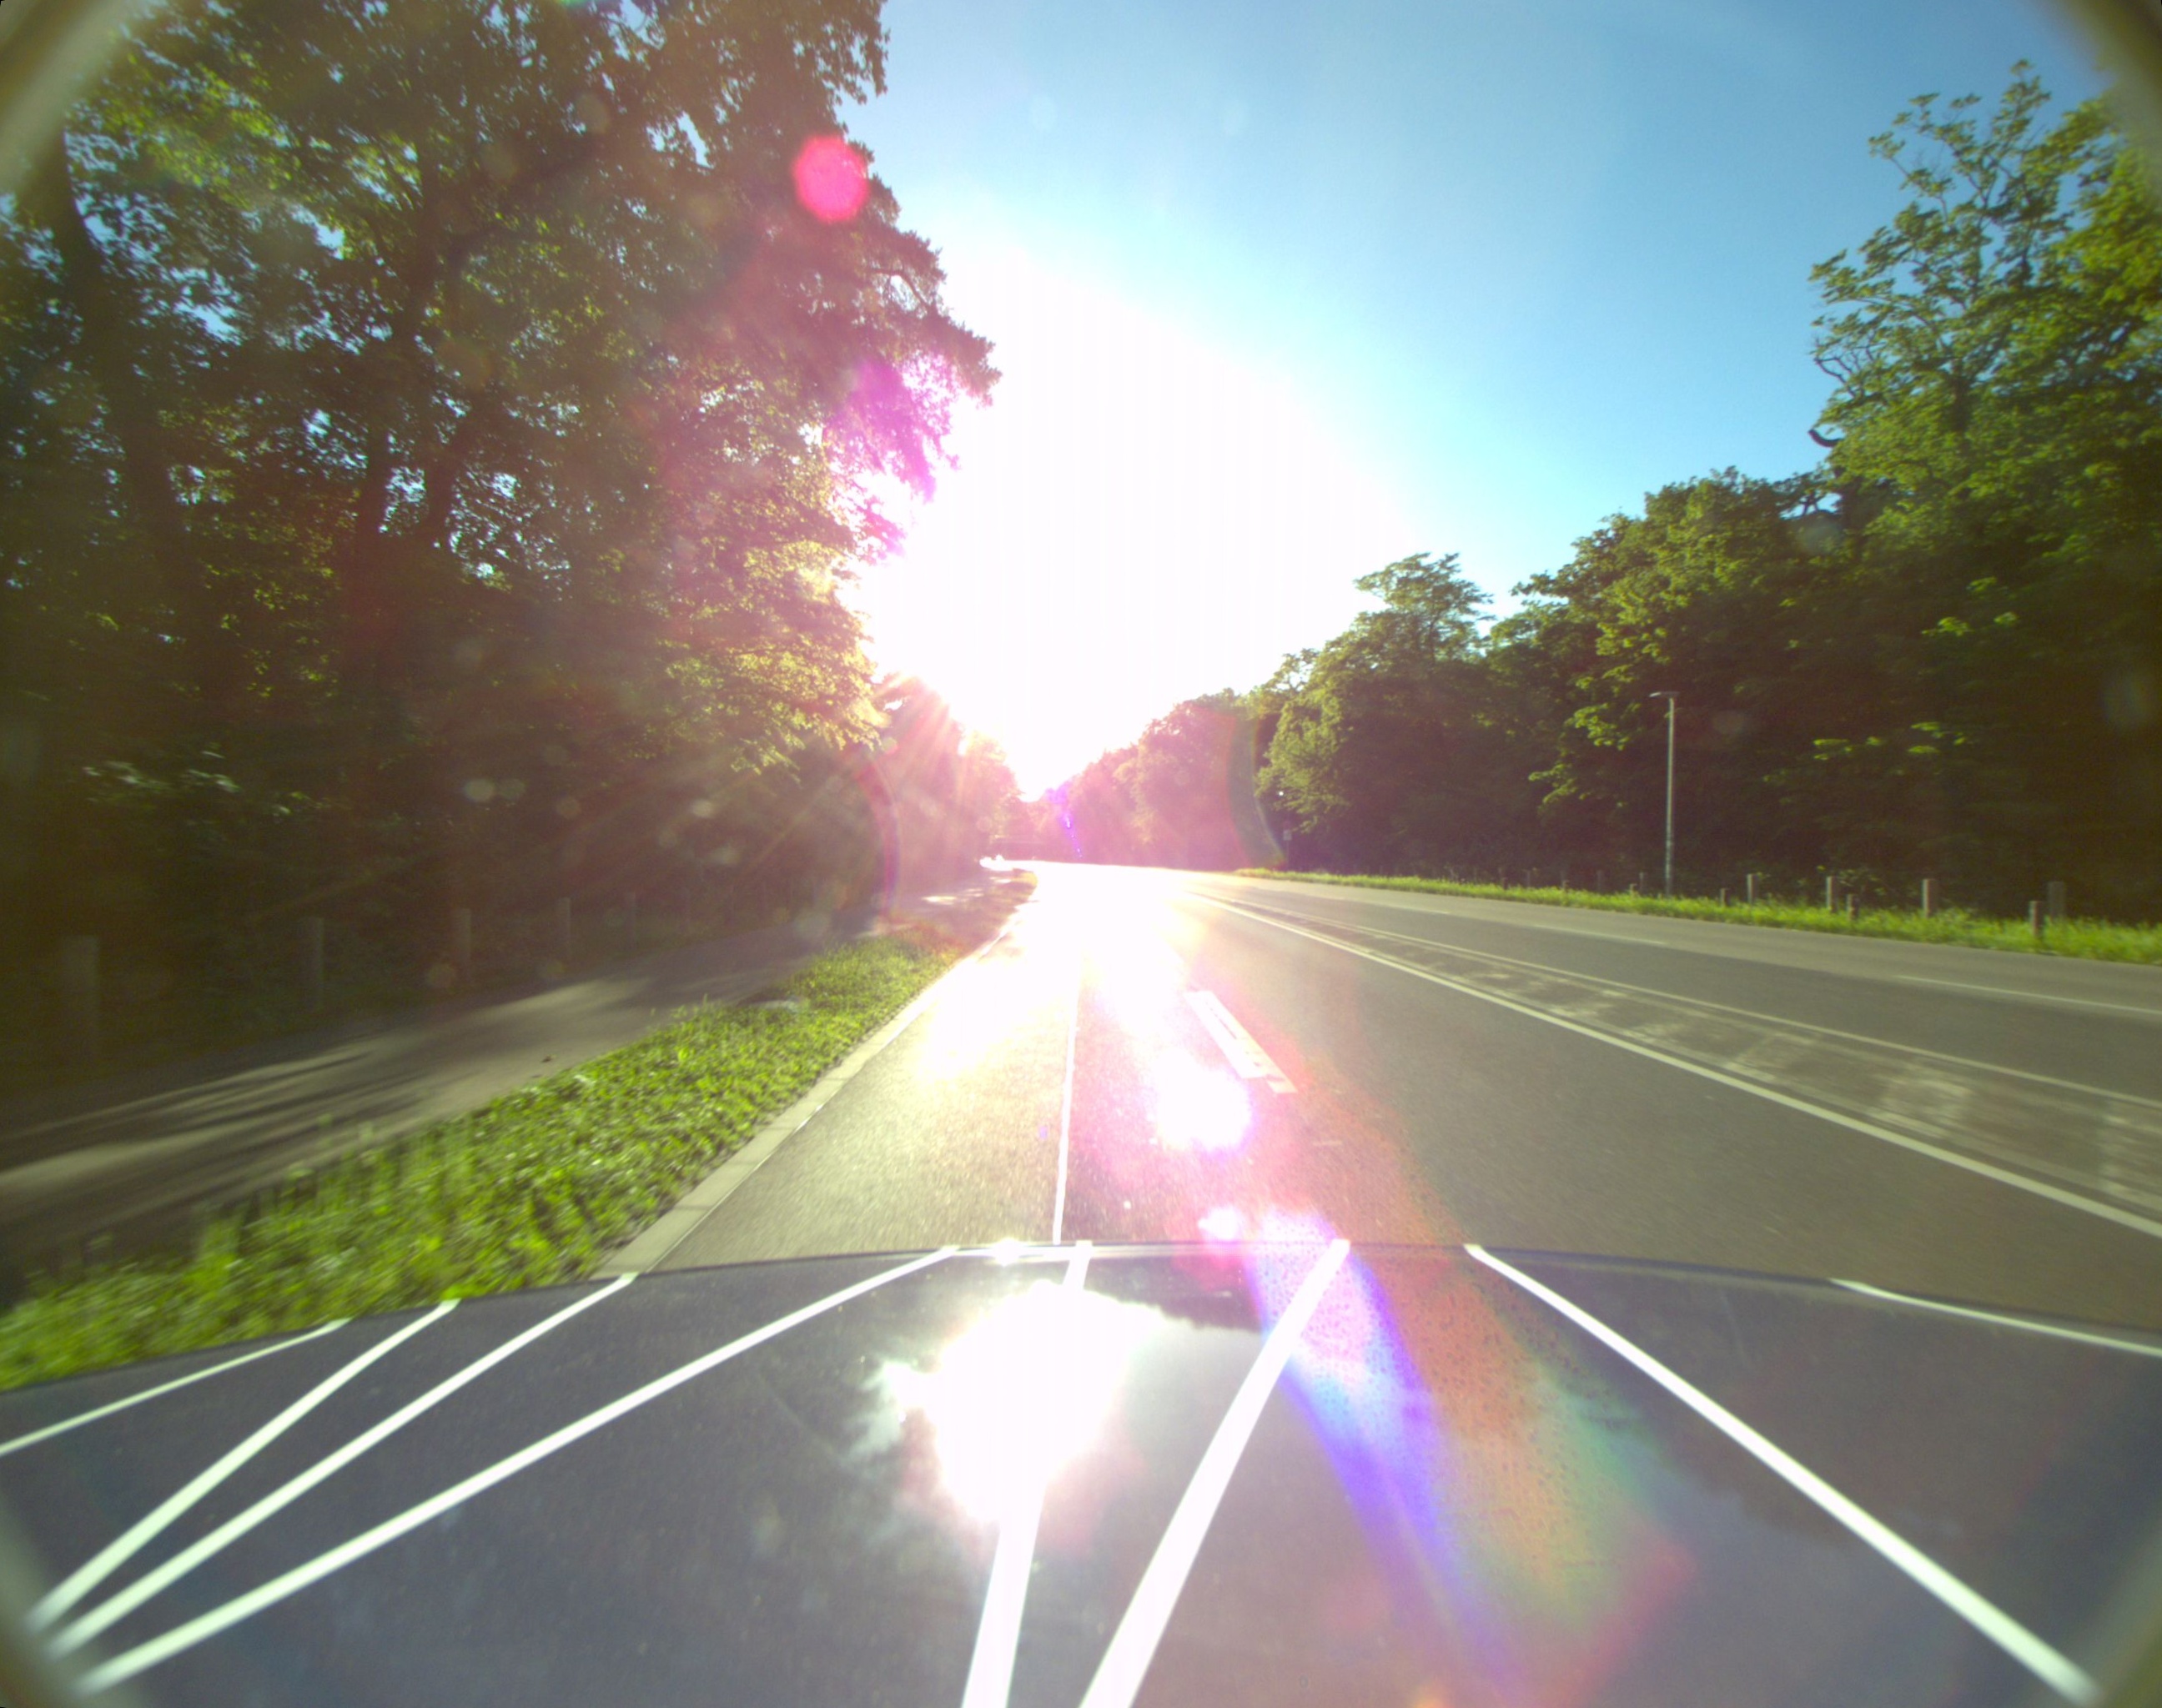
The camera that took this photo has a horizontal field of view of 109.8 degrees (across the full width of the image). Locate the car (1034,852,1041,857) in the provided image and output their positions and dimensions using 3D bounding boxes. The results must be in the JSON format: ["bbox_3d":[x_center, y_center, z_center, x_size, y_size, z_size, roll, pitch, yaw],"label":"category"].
[{"bbox_3d":[-11.514,0.105,202.186,1.592,1.429,4.305,-3,1,-8],"label":"car"}]

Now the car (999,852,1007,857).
[{"bbox_3d":[-23.288,0.165,227.247,1.828,1.674,3.995,-1,0,-14],"label":"car"}]

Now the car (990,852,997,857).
[{"bbox_3d":[-29.706,0.311,258.894,1.828,1.674,3.994,-1,0,-15],"label":"car"}]
